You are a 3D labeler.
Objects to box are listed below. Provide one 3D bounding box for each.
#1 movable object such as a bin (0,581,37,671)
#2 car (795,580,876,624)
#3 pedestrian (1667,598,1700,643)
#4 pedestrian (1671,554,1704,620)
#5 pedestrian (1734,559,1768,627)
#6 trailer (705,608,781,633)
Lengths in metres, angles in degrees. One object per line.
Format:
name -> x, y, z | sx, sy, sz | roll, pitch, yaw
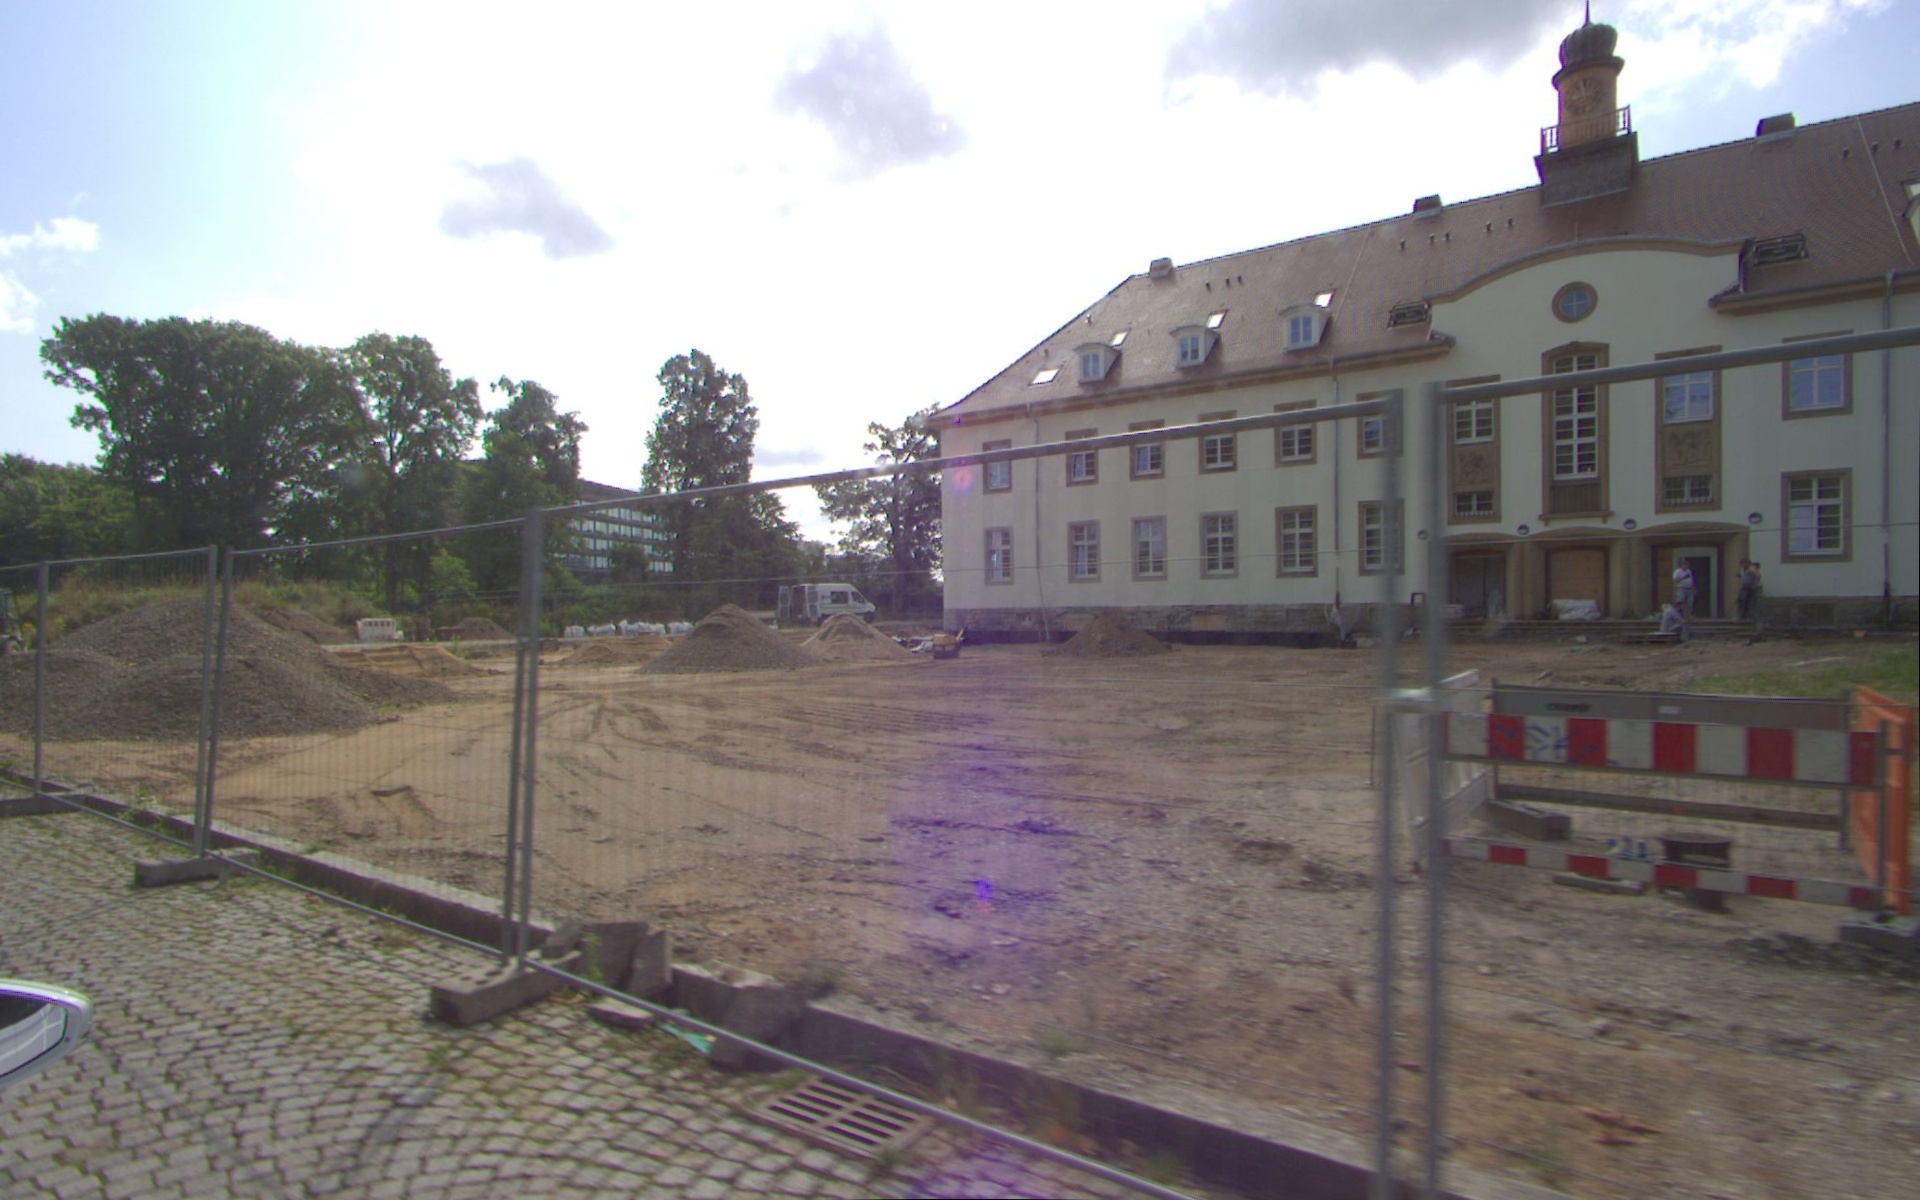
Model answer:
movable object such as a bin -> -29.258, 0.772, 29.224 | 2.102, 2.627, 4.771 | -1, 0, -26
car -> -7.754, 0.139, 62.681 | 4.769, 2.677, 2.036 | -1, 0, -43
pedestrian -> 20.026, 0.563, 27.726 | 0.713, 1.226, 0.665 | 0, 1, 35
pedestrian -> 20.932, -0.361, 28.814 | 0.724, 1.859, 0.643 | 0, 1, 33
pedestrian -> 21.945, -0.189, 27.798 | 0.637, 1.859, 0.873 | 0, 1, 31
trailer -> -12.737, 1.214, 58.854 | 3.943, 1.372, 2.077 | -1, 0, -31
